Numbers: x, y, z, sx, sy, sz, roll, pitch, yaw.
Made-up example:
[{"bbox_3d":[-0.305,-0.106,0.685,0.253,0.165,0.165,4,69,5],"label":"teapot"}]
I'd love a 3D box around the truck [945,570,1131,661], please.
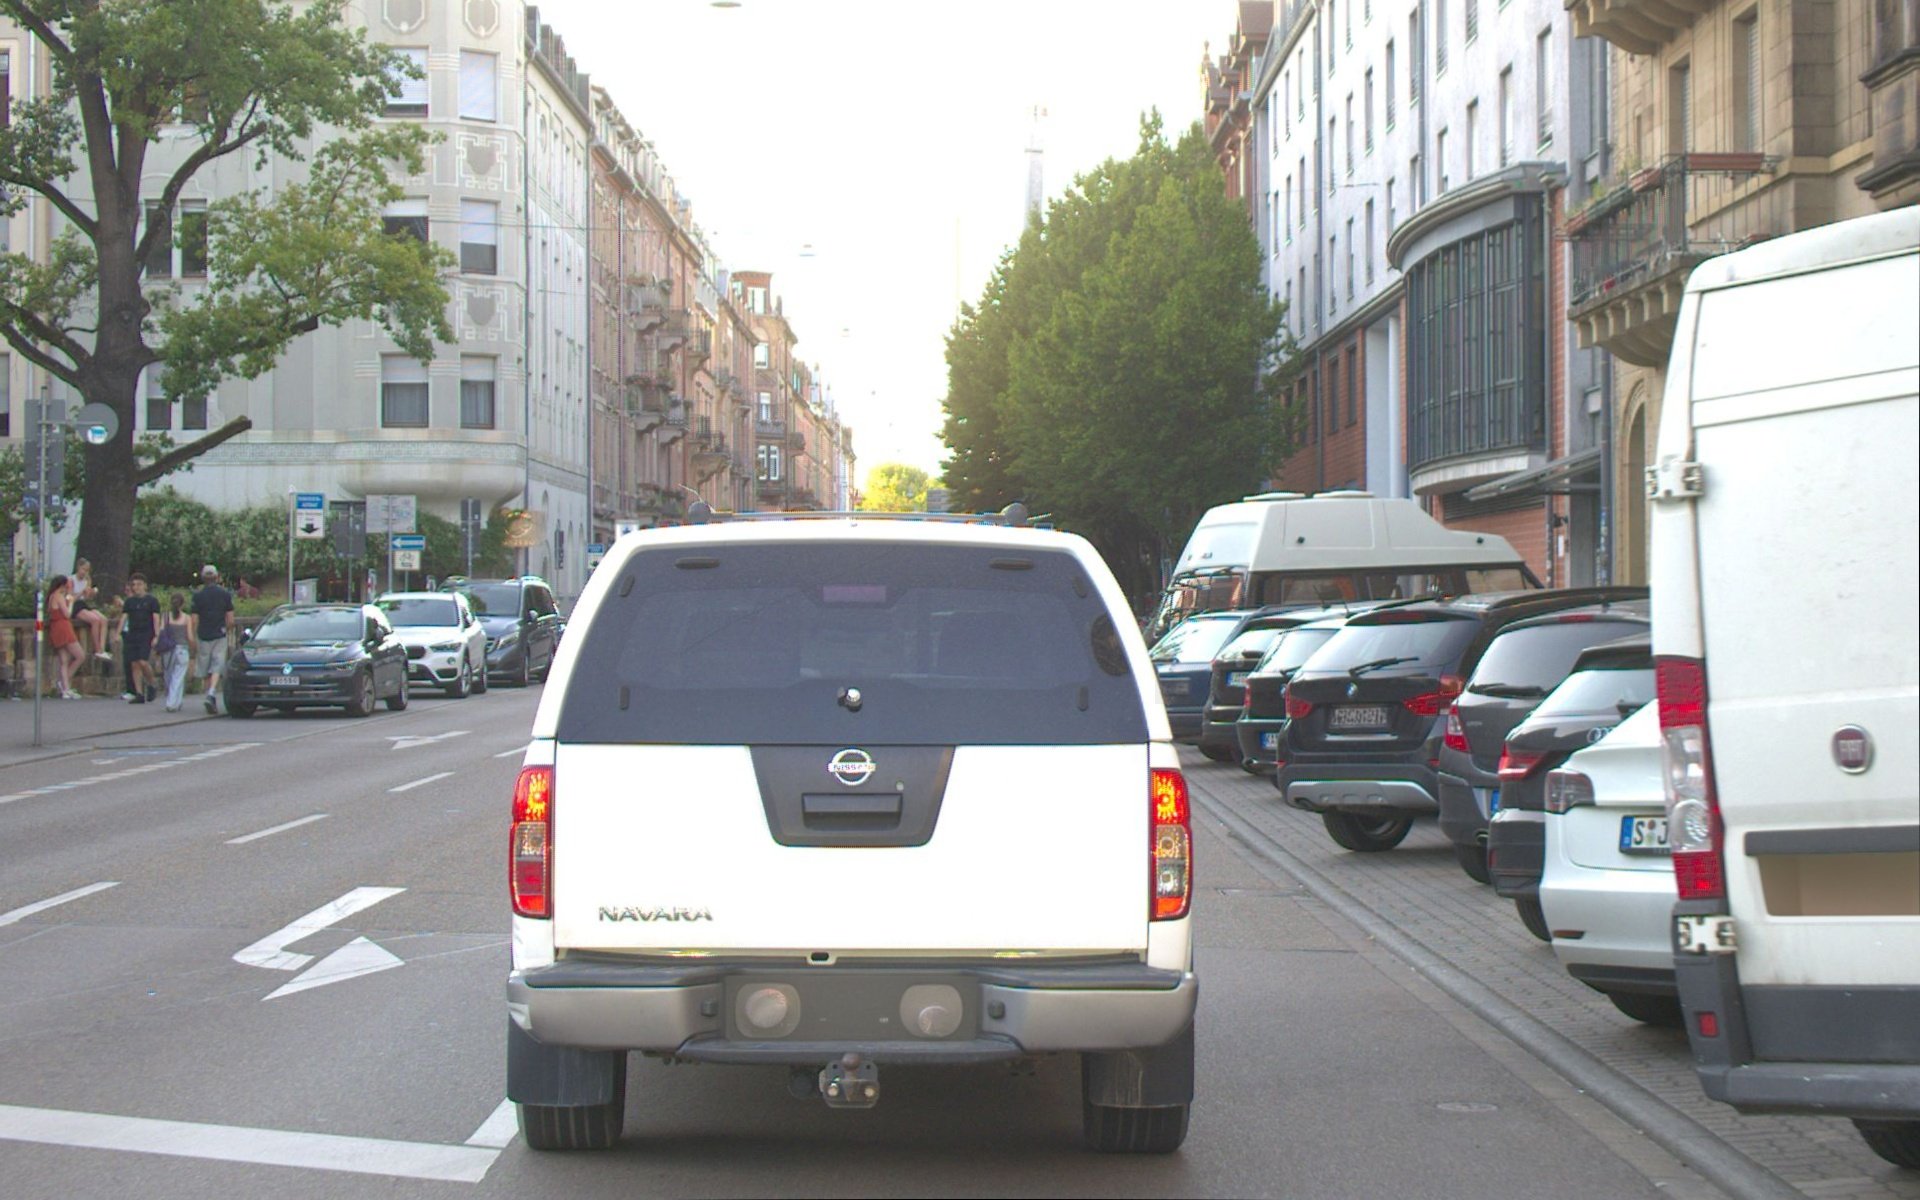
[{"bbox_3d":[2.705,0.540,118.726,6.320,2.966,2.264,1,-3,2],"label":"truck"}]

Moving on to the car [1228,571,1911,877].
[{"bbox_3d":[3.820,0.713,21.248,4.087,1.602,1.816,-2,0,-38],"label":"car"}]

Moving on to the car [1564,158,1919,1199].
[{"bbox_3d":[4.506,0.201,9.654,5.868,2.543,2.195,-1,-2,-41],"label":"car"}]

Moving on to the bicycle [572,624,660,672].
[{"bbox_3d":[-8.134,1.129,81.206,2.113,1.091,0.500,1,1,25],"label":"bicycle"}]

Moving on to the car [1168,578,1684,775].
[{"bbox_3d":[4.065,0.662,29.904,4.108,1.541,1.795,-1,-2,-28],"label":"car"}]

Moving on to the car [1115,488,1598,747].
[{"bbox_3d":[4.119,0.183,35.561,4.710,2.538,1.918,0,-1,-29],"label":"car"}]

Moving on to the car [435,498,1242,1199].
[{"bbox_3d":[-0.315,0.651,10.582,1.933,1.788,4.622,0,0,-1],"label":"car"}]

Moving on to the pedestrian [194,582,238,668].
[{"bbox_3d":[-14.912,0.495,68.895,0.706,1.715,0.837,0,0,-2],"label":"pedestrian"}]

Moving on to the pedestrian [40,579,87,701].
[{"bbox_3d":[-12.324,0.551,47.258,0.414,1.669,0.548,0,0,-40],"label":"pedestrian"}]

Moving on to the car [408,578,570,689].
[{"bbox_3d":[-8.198,0.557,60.309,1.993,1.860,5.289,0,0,1],"label":"car"}]

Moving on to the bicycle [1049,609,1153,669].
[{"bbox_3d":[2.587,0.711,63.053,1.857,1.035,0.402,-2,0,-1],"label":"bicycle"}]

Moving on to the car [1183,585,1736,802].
[{"bbox_3d":[3.948,0.707,26.968,4.022,1.427,1.868,-3,0,-34],"label":"car"}]

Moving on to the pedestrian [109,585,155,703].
[{"bbox_3d":[-11.490,0.605,47.705,0.414,1.616,0.548,0,0,-40],"label":"pedestrian"}]

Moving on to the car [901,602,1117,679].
[{"bbox_3d":[0.989,0.801,69.169,3.986,1.501,1.770,0,0,-29],"label":"car"}]

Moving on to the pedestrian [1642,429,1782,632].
[{"bbox_3d":[7.856,-0.728,35.951,0.607,2.005,0.857,22,2,2],"label":"pedestrian"}]

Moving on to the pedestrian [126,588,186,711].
[{"bbox_3d":[-10.275,0.626,43.948,0.582,1.546,0.839,1,0,-3],"label":"pedestrian"}]

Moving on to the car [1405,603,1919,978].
[{"bbox_3d":[4.075,0.753,15.504,3.905,1.441,1.874,-2,-1,-40],"label":"car"}]

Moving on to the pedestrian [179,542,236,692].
[{"bbox_3d":[-9.624,0.212,43.995,0.582,1.899,0.803,0,0,-3],"label":"pedestrian"}]

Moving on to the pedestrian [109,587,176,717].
[{"bbox_3d":[-10.912,0.685,45.912,0.714,1.719,0.692,0,0,1],"label":"pedestrian"}]

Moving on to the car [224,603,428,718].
[{"bbox_3d":[-8.269,0.763,45.177,1.783,1.430,4.315,0,0,1],"label":"car"}]

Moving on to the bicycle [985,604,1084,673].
[{"bbox_3d":[1.332,0.689,61.390,1.707,1.172,0.472,-2,0,-1],"label":"bicycle"}]

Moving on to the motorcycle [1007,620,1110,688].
[{"bbox_3d":[1.702,0.924,59.479,1.644,1.098,0.647,-3,0,-8],"label":"motorcycle"}]

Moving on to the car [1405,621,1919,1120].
[{"bbox_3d":[3.834,0.799,12.320,4.242,1.448,1.999,-2,-1,-38],"label":"car"}]

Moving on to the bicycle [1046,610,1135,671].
[{"bbox_3d":[2.354,0.722,61.936,1.539,1.035,0.472,-2,0,-1],"label":"bicycle"}]

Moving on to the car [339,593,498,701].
[{"bbox_3d":[-8.330,0.699,53.187,1.871,1.586,4.469,0,0,-2],"label":"car"}]

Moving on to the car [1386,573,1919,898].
[{"bbox_3d":[4.321,0.677,18.766,3.905,1.539,1.716,-2,-1,-41],"label":"car"}]

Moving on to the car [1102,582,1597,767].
[{"bbox_3d":[3.718,0.675,32.634,4.384,1.481,1.844,-3,0,-30],"label":"car"}]

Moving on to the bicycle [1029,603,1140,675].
[{"bbox_3d":[2.189,0.685,60.614,1.859,1.142,0.659,-3,0,0],"label":"bicycle"}]

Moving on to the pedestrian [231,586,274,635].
[{"bbox_3d":[-14.175,0.206,68.861,0.706,0.977,0.837,0,0,-2],"label":"pedestrian"}]

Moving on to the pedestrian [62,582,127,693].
[{"bbox_3d":[-12.113,0.521,48.115,0.651,1.540,0.585,0,0,24],"label":"pedestrian"}]
